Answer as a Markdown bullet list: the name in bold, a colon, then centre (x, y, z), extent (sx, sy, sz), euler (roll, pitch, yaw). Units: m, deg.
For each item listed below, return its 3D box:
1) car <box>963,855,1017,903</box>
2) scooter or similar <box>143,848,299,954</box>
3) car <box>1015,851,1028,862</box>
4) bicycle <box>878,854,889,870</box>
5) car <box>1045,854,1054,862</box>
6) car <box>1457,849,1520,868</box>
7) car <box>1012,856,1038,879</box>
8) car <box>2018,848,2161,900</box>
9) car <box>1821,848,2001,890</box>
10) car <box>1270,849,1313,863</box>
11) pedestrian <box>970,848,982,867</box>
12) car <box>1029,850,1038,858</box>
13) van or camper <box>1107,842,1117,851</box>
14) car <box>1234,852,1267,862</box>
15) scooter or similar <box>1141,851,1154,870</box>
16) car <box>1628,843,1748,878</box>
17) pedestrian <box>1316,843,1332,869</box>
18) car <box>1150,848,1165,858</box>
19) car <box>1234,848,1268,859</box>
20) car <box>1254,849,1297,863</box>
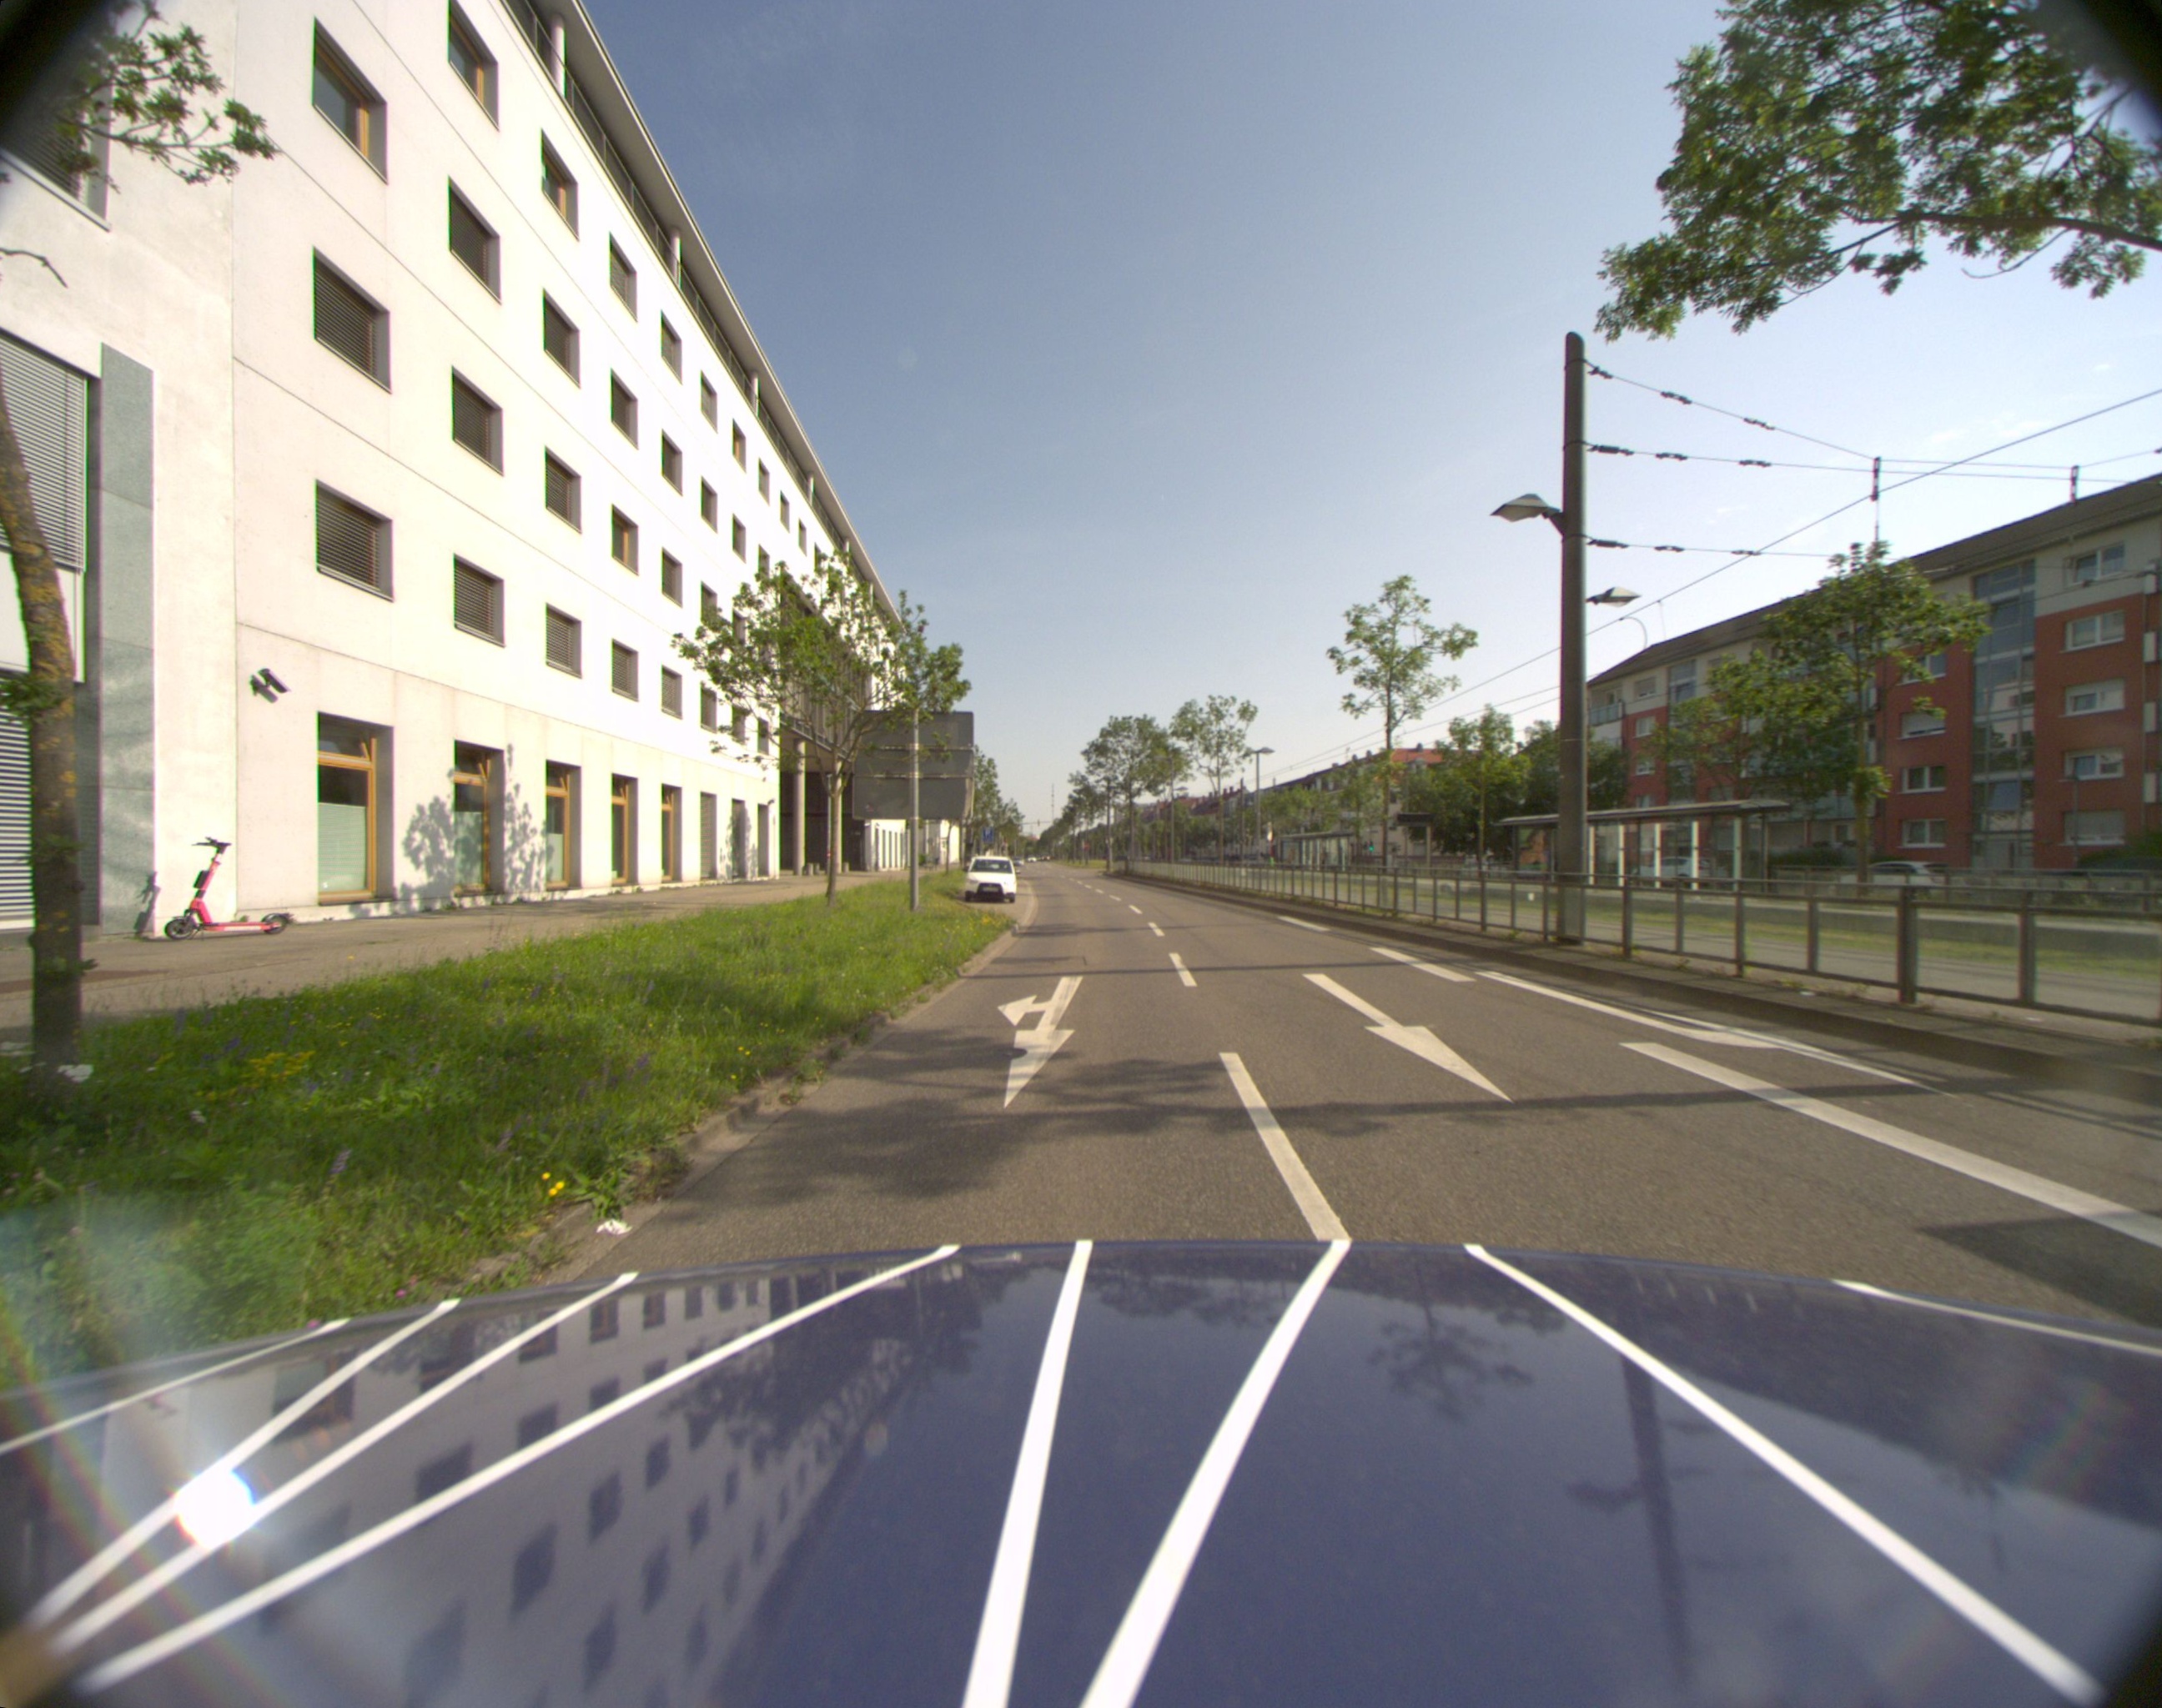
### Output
- **car**: centre (-3.077, 0.808, 26.168), extent (1.694, 1.517, 3.848), euler (0, 0, -6)
- **scooter or similar**: centre (-10.488, 0.543, 9.323), extent (0.463, 1.206, 1.255), euler (1, 0, 2)
- **car**: centre (-9.133, 0.410, 116.679), extent (1.999, 1.652, 3.998), euler (0, 0, -4)
- **bicycle**: centre (-13.949, 0.533, 53.610), extent (0.495, 1.080, 1.549), euler (1, 0, -7)
- **car**: centre (-7.412, 0.914, 176.236), extent (1.999, 1.652, 3.998), euler (0, 0, -4)
- **car**: centre (28.215, 0.288, 52.768), extent (1.838, 1.141, 4.162), euler (-2, 1, -5)
- **car**: centre (-3.829, 0.906, 51.898), extent (1.725, 1.510, 3.779), euler (0, 0, -5)
- **car**: centre (30.275, 0.540, 21.677), extent (1.986, 1.352, 4.067), euler (-2, 1, -5)
- **car**: centre (30.091, 0.481, 27.753), extent (1.986, 1.352, 4.067), euler (-2, 1, -5)
- **car**: centre (23.934, 0.277, 86.553), extent (4.342, 1.455, 1.967), euler (-1, 1, 29)
- **pedestrian**: centre (-9.034, 0.329, 65.244), extent (0.778, 1.606, 0.714), euler (1, 1, 23)
- **car**: centre (-10.503, 0.045, 169.127), extent (1.999, 1.652, 3.998), euler (0, 0, -4)
- **van or camper**: centre (8.996, -2.151, 219.958), extent (2.148, 2.459, 6.055), euler (1, 0, -4)
- **car**: centre (22.938, 0.390, 102.697), extent (3.989, 1.251, 1.879), euler (0, 0, 29)
- **scooter or similar**: centre (4.273, 0.412, 48.634), extent (0.426, 1.232, 1.264), euler (1, 1, 23)
- **car**: centre (29.440, 0.270, 37.069), extent (1.986, 1.547, 4.534), euler (-2, 1, -5)
- **pedestrian**: centre (15.375, 0.127, 48.089), extent (0.674, 1.643, 0.794), euler (0, 1, -8)
- **car**: centre (14.423, -0.179, 142.982), extent (1.999, 1.696, 4.710), euler (0, 0, -5)
- **car**: centre (22.408, -0.067, 100.143), extent (3.990, 1.262, 1.889), euler (-2, 1, 26)
- **car**: centre (23.123, 0.197, 90.320), extent (4.452, 1.505, 2.004), euler (-1, 1, 32)
